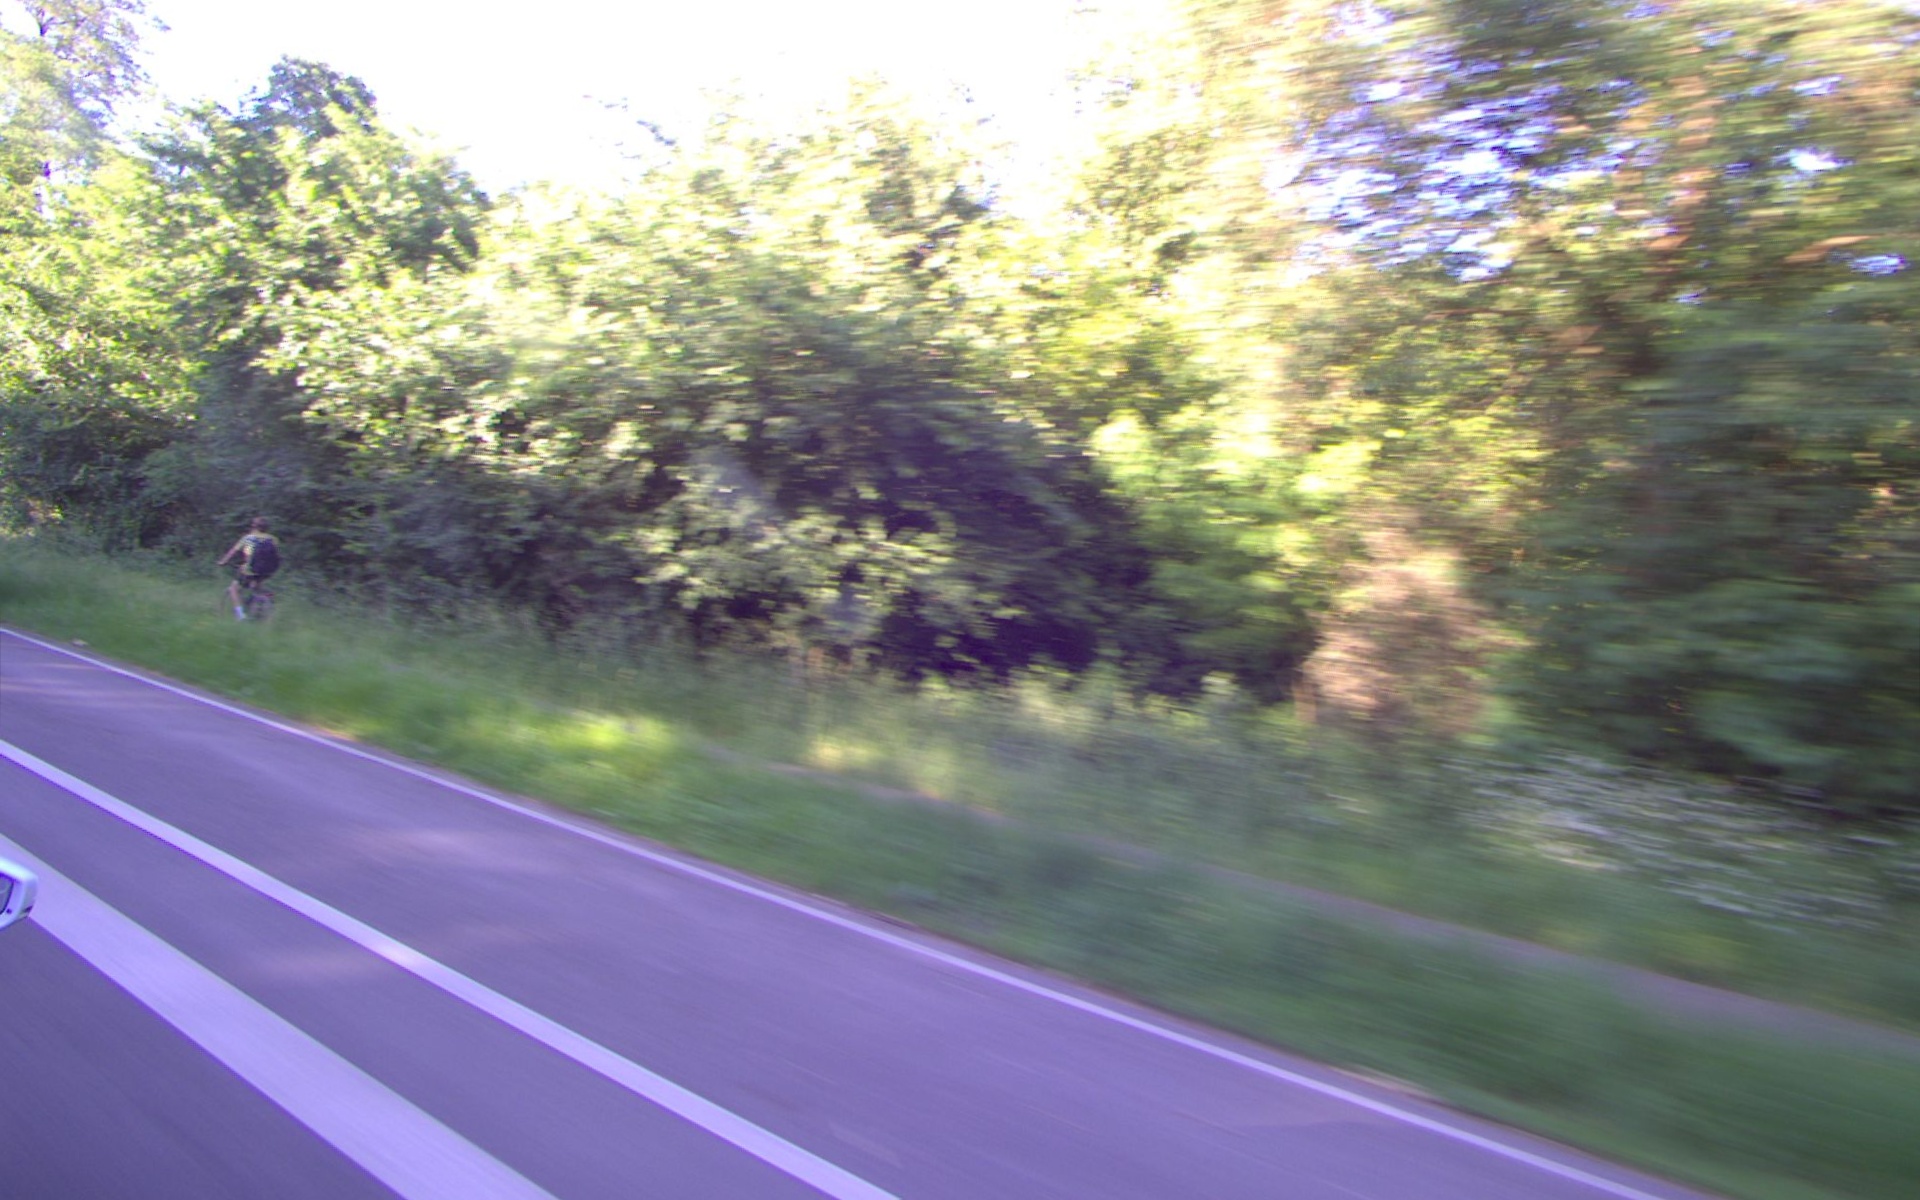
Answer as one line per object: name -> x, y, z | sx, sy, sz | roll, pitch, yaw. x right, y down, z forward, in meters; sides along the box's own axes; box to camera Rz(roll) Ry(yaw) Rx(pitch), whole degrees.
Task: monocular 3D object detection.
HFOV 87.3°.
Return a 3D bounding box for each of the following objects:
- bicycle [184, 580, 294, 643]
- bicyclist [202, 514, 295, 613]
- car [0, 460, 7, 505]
bicycle -> -10.889, 0.164, 15.176 | 1.963, 0.700, 0.592 | 7, -1, 32
bicyclist -> -10.654, -0.550, 15.062 | 1.156, 1.340, 0.611 | 7, 0, 32
car -> -14.738, -1.098, 13.040 | 4.956, 2.036, 2.118 | 7, -2, 32
